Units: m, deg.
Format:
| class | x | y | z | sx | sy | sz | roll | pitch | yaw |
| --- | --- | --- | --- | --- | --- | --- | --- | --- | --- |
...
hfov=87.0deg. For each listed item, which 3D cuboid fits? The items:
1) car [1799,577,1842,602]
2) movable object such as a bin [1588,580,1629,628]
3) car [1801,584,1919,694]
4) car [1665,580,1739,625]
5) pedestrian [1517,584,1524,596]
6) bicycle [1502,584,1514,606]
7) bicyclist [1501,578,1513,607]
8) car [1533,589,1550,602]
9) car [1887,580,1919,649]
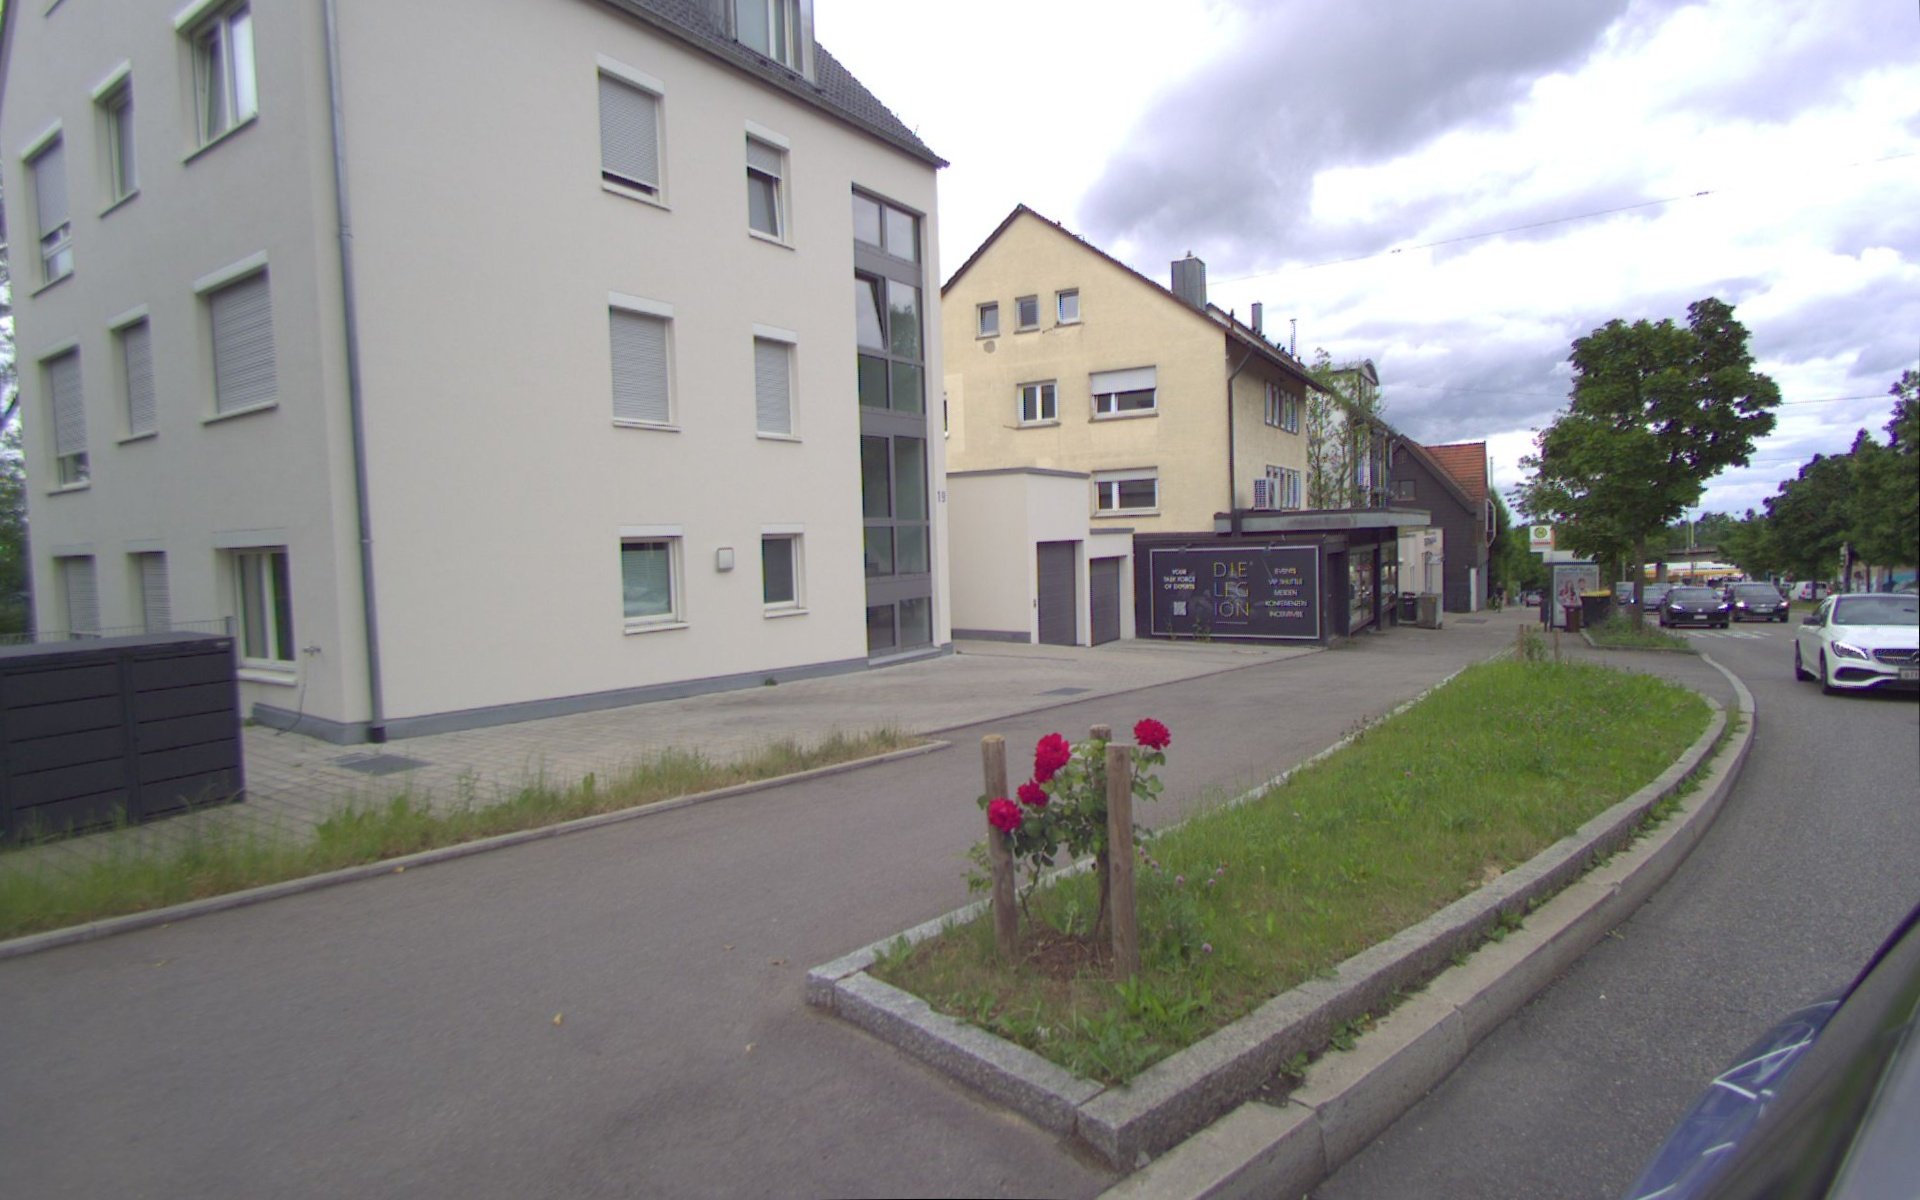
| class | x | y | z | sx | sy | sz | roll | pitch | yaw |
| --- | --- | --- | --- | --- | --- | --- | --- | --- | --- |
| car | 71.891 | -0.854 | 84.636 | 1.929 | 1.982 | 4.965 | 0 | 0 | 31 |
| movable object such as a bin | 20.811 | 0.115 | 32.515 | 1.080 | 1.500 | 1.519 | -1 | 0 | 32 |
| car | 13.598 | 0.486 | 14.622 | 1.806 | 1.416 | 3.951 | -1 | 0 | 34 |
| car | 27.175 | 0.090 | 37.166 | 1.764 | 1.561 | 3.956 | -1 | -1 | 31 |
| pedestrian | 73.297 | -1.312 | 132.280 | 0.708 | 1.490 | 0.688 | -1 | -1 | 30 |
| bicycle | 31.829 | -0.289 | 58.775 | 0.568 | 1.278 | 2.016 | 1 | 0 | 31 |
| bicyclist | 31.693 | -0.447 | 58.617 | 0.535 | 1.654 | 0.936 | -1 | -1 | 31 |
| car | 79.415 | -0.607 | 138.182 | 1.908 | 1.672 | 3.957 | -1 | 0 | 30 |
| car | 21.544 | 0.294 | 21.475 | 1.902 | 1.500 | 4.351 | -1 | -1 | 31 |
